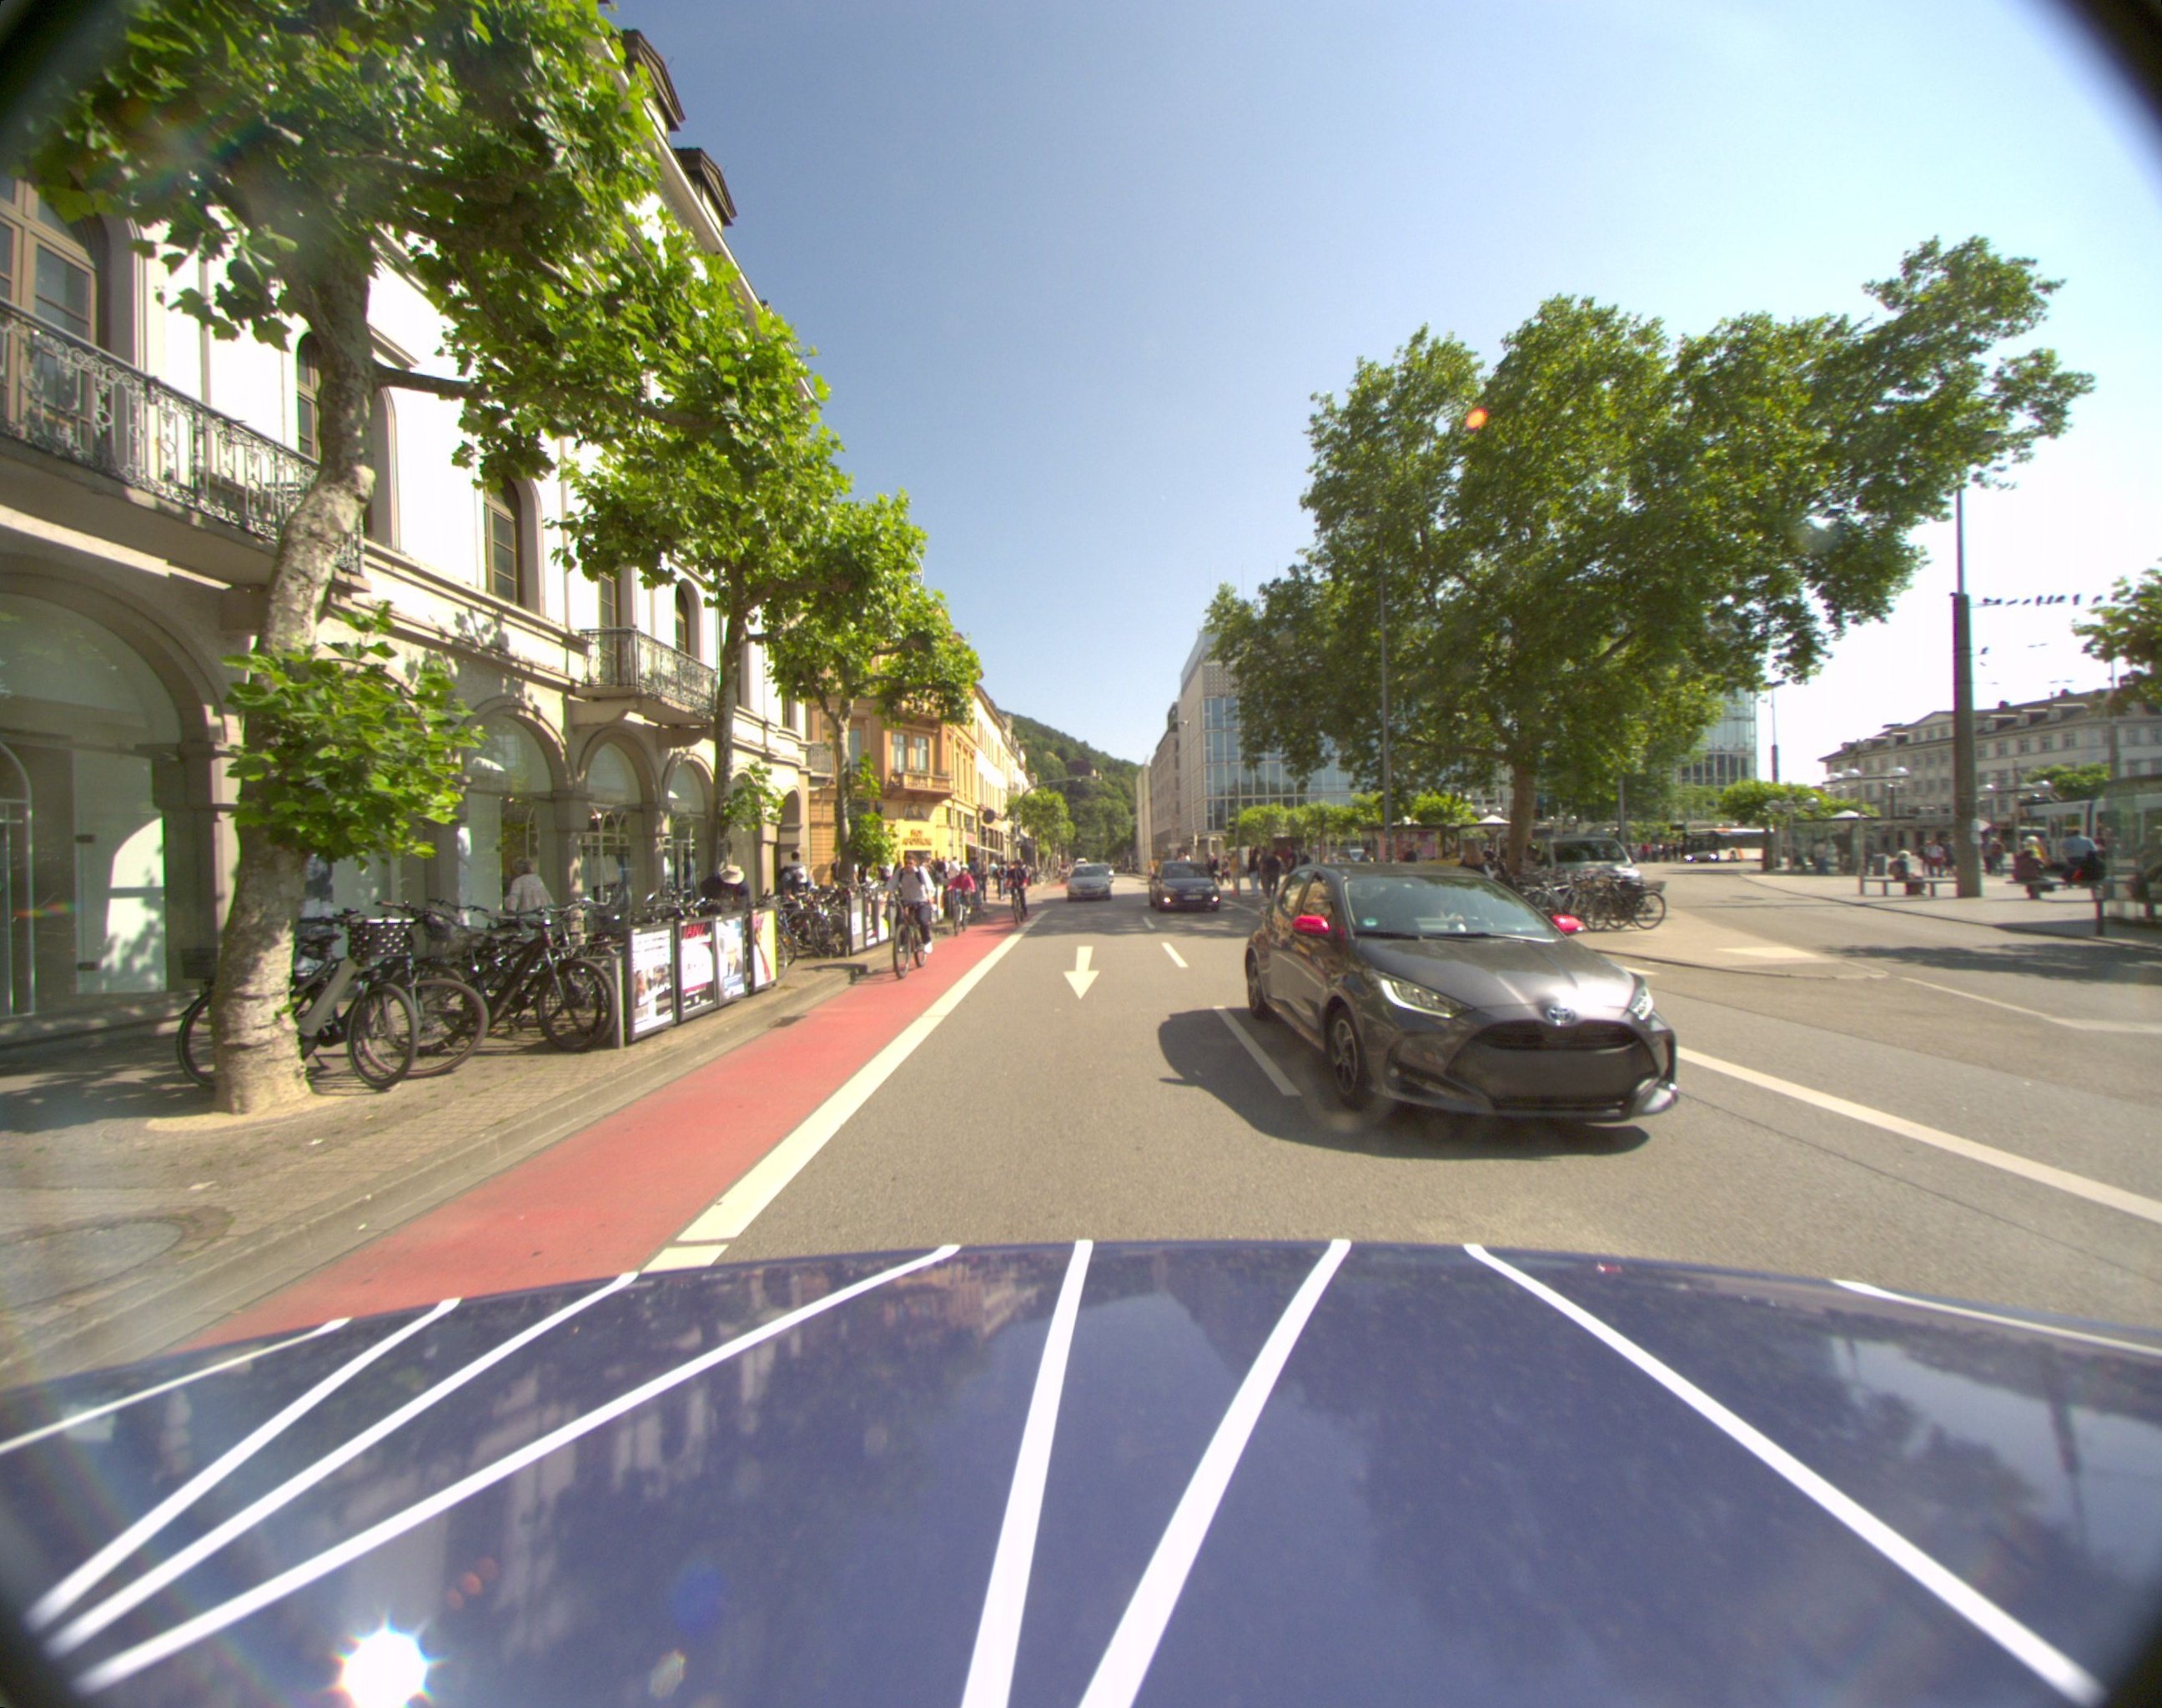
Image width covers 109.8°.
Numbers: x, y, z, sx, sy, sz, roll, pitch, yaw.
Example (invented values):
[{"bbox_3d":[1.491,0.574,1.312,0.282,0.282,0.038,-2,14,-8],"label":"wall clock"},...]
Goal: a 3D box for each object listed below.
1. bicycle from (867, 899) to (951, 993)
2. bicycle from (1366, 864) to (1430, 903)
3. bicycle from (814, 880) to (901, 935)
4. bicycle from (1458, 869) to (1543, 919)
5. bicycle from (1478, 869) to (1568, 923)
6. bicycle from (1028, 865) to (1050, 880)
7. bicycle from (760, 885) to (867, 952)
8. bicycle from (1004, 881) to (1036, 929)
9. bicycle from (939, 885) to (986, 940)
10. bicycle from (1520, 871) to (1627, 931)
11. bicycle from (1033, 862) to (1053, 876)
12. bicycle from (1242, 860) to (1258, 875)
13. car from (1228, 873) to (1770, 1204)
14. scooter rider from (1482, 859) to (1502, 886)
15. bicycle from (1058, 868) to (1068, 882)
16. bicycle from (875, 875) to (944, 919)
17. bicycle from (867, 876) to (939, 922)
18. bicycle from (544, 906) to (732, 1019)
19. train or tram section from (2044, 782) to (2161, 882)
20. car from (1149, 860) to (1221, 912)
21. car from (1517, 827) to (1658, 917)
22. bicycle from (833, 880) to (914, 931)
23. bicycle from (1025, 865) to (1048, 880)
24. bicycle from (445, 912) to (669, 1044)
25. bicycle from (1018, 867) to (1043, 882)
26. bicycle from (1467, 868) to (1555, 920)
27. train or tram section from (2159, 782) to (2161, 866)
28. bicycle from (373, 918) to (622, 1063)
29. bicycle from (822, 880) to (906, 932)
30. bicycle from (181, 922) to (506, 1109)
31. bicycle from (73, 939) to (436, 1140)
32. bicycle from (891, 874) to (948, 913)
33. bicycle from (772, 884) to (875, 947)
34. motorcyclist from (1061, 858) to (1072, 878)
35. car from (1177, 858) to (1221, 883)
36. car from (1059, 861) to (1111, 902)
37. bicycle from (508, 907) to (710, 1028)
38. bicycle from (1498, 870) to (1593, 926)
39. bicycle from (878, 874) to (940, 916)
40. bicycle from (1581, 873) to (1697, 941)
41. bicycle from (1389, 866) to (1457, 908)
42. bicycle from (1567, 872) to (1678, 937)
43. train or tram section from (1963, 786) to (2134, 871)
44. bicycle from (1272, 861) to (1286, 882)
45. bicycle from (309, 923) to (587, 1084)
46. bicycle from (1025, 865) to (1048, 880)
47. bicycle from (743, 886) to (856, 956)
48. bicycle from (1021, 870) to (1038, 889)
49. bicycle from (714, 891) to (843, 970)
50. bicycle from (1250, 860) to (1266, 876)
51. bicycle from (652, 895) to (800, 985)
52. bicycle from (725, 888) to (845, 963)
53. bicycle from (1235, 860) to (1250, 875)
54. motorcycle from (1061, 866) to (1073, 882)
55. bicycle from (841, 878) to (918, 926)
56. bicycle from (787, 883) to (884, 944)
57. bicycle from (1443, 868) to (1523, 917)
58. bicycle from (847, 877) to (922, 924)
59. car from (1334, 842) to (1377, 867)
[{"bbox_3d":[-2.425,1.265,10.915,0.736,1.086,1.897,-3,0,-1],"label":"bicycle"},{"bbox_3d":[9.828,0.902,23.567,1.757,1.140,0.483,-2,0,-1],"label":"bicycle"},{"bbox_3d":[-4.991,1.197,17.022,1.757,1.140,0.518,-2,0,-1],"label":"bicycle"},{"bbox_3d":[10.117,0.951,18.349,1.757,1.140,0.483,-2,0,-1],"label":"bicycle"},{"bbox_3d":[9.966,0.939,17.149,1.757,1.140,0.483,-2,0,-1],"label":"bicycle"},{"bbox_3d":[-3.493,1.520,62.633,1.757,1.140,0.592,-2,0,-1],"label":"bicycle"},{"bbox_3d":[-4.972,1.195,14.176,1.757,1.140,0.592,-2,0,-1],"label":"bicycle"},{"bbox_3d":[-1.566,1.284,19.699,0.667,1.086,1.897,-3,0,-2],"label":"bicycle"},{"bbox_3d":[-2.618,1.278,16.993,0.736,1.086,1.819,-3,-1,-1],"label":"bicycle"},{"bbox_3d":[10.030,0.955,15.499,1.865,1.140,0.483,-2,0,-1],"label":"bicycle"},{"bbox_3d":[-3.407,1.350,67.855,1.757,1.140,0.592,-2,0,-1],"label":"bicycle"},{"bbox_3d":[13.239,1.060,59.527,0.592,1.140,1.757,-2,0,-7],"label":"bicycle"},{"bbox_3d":[2.389,0.930,5.635,1.782,1.466,3.999,0,0,-1],"label":"car"},{"bbox_3d":[13.094,0.589,24.214,0.506,0.833,0.349,-3,1,34],"label":"scooter rider"},{"bbox_3d":[-1.502,1.740,64.263,0.736,1.086,1.898,-3,0,1],"label":"bicycle"},{"bbox_3d":[-4.758,1.197,21.102,1.757,1.140,0.592,-2,0,-1],"label":"bicycle"},{"bbox_3d":[-4.759,1.195,20.396,1.757,1.140,0.592,-2,0,-1],"label":"bicycle"},{"bbox_3d":[-4.907,1.190,8.471,1.757,1.140,0.483,-2,0,-1],"label":"bicycle"},{"bbox_3d":[44.412,-1.021,31.556,2.615,3.805,9.536,-3,0,34],"label":"train or tram section"},{"bbox_3d":[3.035,0.905,22.854,1.699,1.396,4.000,0,0,2],"label":"car"},{"bbox_3d":[12.982,0.389,19.865,1.996,2.002,5.074,-3,0,22],"label":"car"},{"bbox_3d":[-5.005,1.239,18.413,1.757,1.140,0.592,-2,0,-1],"label":"bicycle"},{"bbox_3d":[-3.559,1.473,61.153,1.757,1.140,0.592,-2,0,-1],"label":"bicycle"},{"bbox_3d":[-5.004,1.171,7.310,1.757,1.140,0.483,-2,0,-1],"label":"bicycle"},{"bbox_3d":[-3.713,1.530,55.867,1.757,1.029,0.592,-2,0,-1],"label":"bicycle"},{"bbox_3d":[10.021,0.916,17.732,1.757,1.140,0.483,-2,0,-1],"label":"bicycle"},{"bbox_3d":[38.705,-0.706,23.685,2.615,3.805,9.536,-3,0,34],"label":"train or tram section"},{"bbox_3d":[-5.081,1.175,6.676,1.757,1.140,0.483,-2,0,-1],"label":"bicycle"},{"bbox_3d":[-5.033,1.200,17.689,1.757,1.140,0.592,-2,0,-1],"label":"bicycle"},{"bbox_3d":[-5.261,1.135,5.480,1.804,1.187,0.483,-2,0,-1],"label":"bicycle"},{"bbox_3d":[-5.364,1.183,4.988,1.778,1.140,0.483,-2,0,-1],"label":"bicycle"},{"bbox_3d":[-4.975,1.202,23.457,1.632,1.140,0.425,-2,0,-1],"label":"bicycle"},{"bbox_3d":[-4.999,1.187,14.808,1.757,1.140,0.592,-2,0,-1],"label":"bicycle"},{"bbox_3d":[-1.085,1.075,58.195,0.736,1.445,0.707,-3,0,1],"label":"motorcyclist"},{"bbox_3d":[10.636,1.505,68.484,1.995,2.002,4.007,-3,0,41],"label":"car"},{"bbox_3d":[0.210,1.068,30.677,1.918,1.401,4.000,-3,0,2],"label":"car"},{"bbox_3d":[-4.896,1.165,7.940,1.757,1.140,0.483,-2,0,-1],"label":"bicycle"},{"bbox_3d":[10.062,0.953,16.490,1.757,1.140,0.483,-2,0,-1],"label":"bicycle"},{"bbox_3d":[-5.072,1.204,22.441,1.660,1.140,0.523,-2,0,-1],"label":"bicycle"},{"bbox_3d":[10.121,0.949,13.799,1.757,1.140,0.483,-2,0,-1],"label":"bicycle"},{"bbox_3d":[9.944,0.962,22.122,1.757,1.140,0.483,-2,0,-1],"label":"bicycle"},{"bbox_3d":[10.191,0.945,14.323,1.757,1.140,0.483,-2,0,-1],"label":"bicycle"},{"bbox_3d":[49.768,-1.317,39.489,2.615,3.805,9.536,-3,0,34],"label":"train or tram section"},{"bbox_3d":[11.832,1.034,45.437,0.729,1.137,1.914,-3,0,14],"label":"bicycle"},{"bbox_3d":[-5.023,1.172,6.086,1.757,1.140,0.483,-2,0,-1],"label":"bicycle"},{"bbox_3d":[-3.559,1.473,60.412,1.757,1.140,0.592,-2,0,-1],"label":"bicycle"},{"bbox_3d":[-4.979,1.179,13.501,1.757,1.140,0.592,-2,0,-1],"label":"bicycle"},{"bbox_3d":[-3.111,1.515,45.870,0.737,1.086,1.895,2,0,-13],"label":"bicycle"},{"bbox_3d":[-4.752,1.188,11.999,1.757,1.140,0.592,-2,0,-1],"label":"bicycle"},{"bbox_3d":[13.869,1.091,59.649,0.592,1.140,1.757,-2,0,-7],"label":"bicycle"},{"bbox_3d":[-4.952,1.193,10.678,1.757,1.140,0.592,-2,0,-1],"label":"bicycle"},{"bbox_3d":[-4.953,1.187,12.773,1.757,1.140,0.592,-2,0,-1],"label":"bicycle"},{"bbox_3d":[12.620,1.074,59.456,0.592,1.140,1.757,-2,0,-7],"label":"bicycle"},{"bbox_3d":[-1.071,1.515,58.088,0.736,1.086,1.898,-3,0,1],"label":"motorcycle"},{"bbox_3d":[-5.064,1.202,19.167,1.757,1.140,0.592,-2,0,-1],"label":"bicycle"},{"bbox_3d":[-4.997,1.197,15.508,1.757,1.140,0.592,-2,0,-1],"label":"bicycle"},{"bbox_3d":[10.057,0.951,19.032,1.757,1.140,0.483,-2,0,-1],"label":"bicycle"},{"bbox_3d":[-5.088,1.203,19.769,1.757,1.151,0.592,-2,0,-1],"label":"bicycle"},{"bbox_3d":[24.646,0.061,68.270,1.999,2.002,3.998,-3,0,-6],"label":"car"}]
